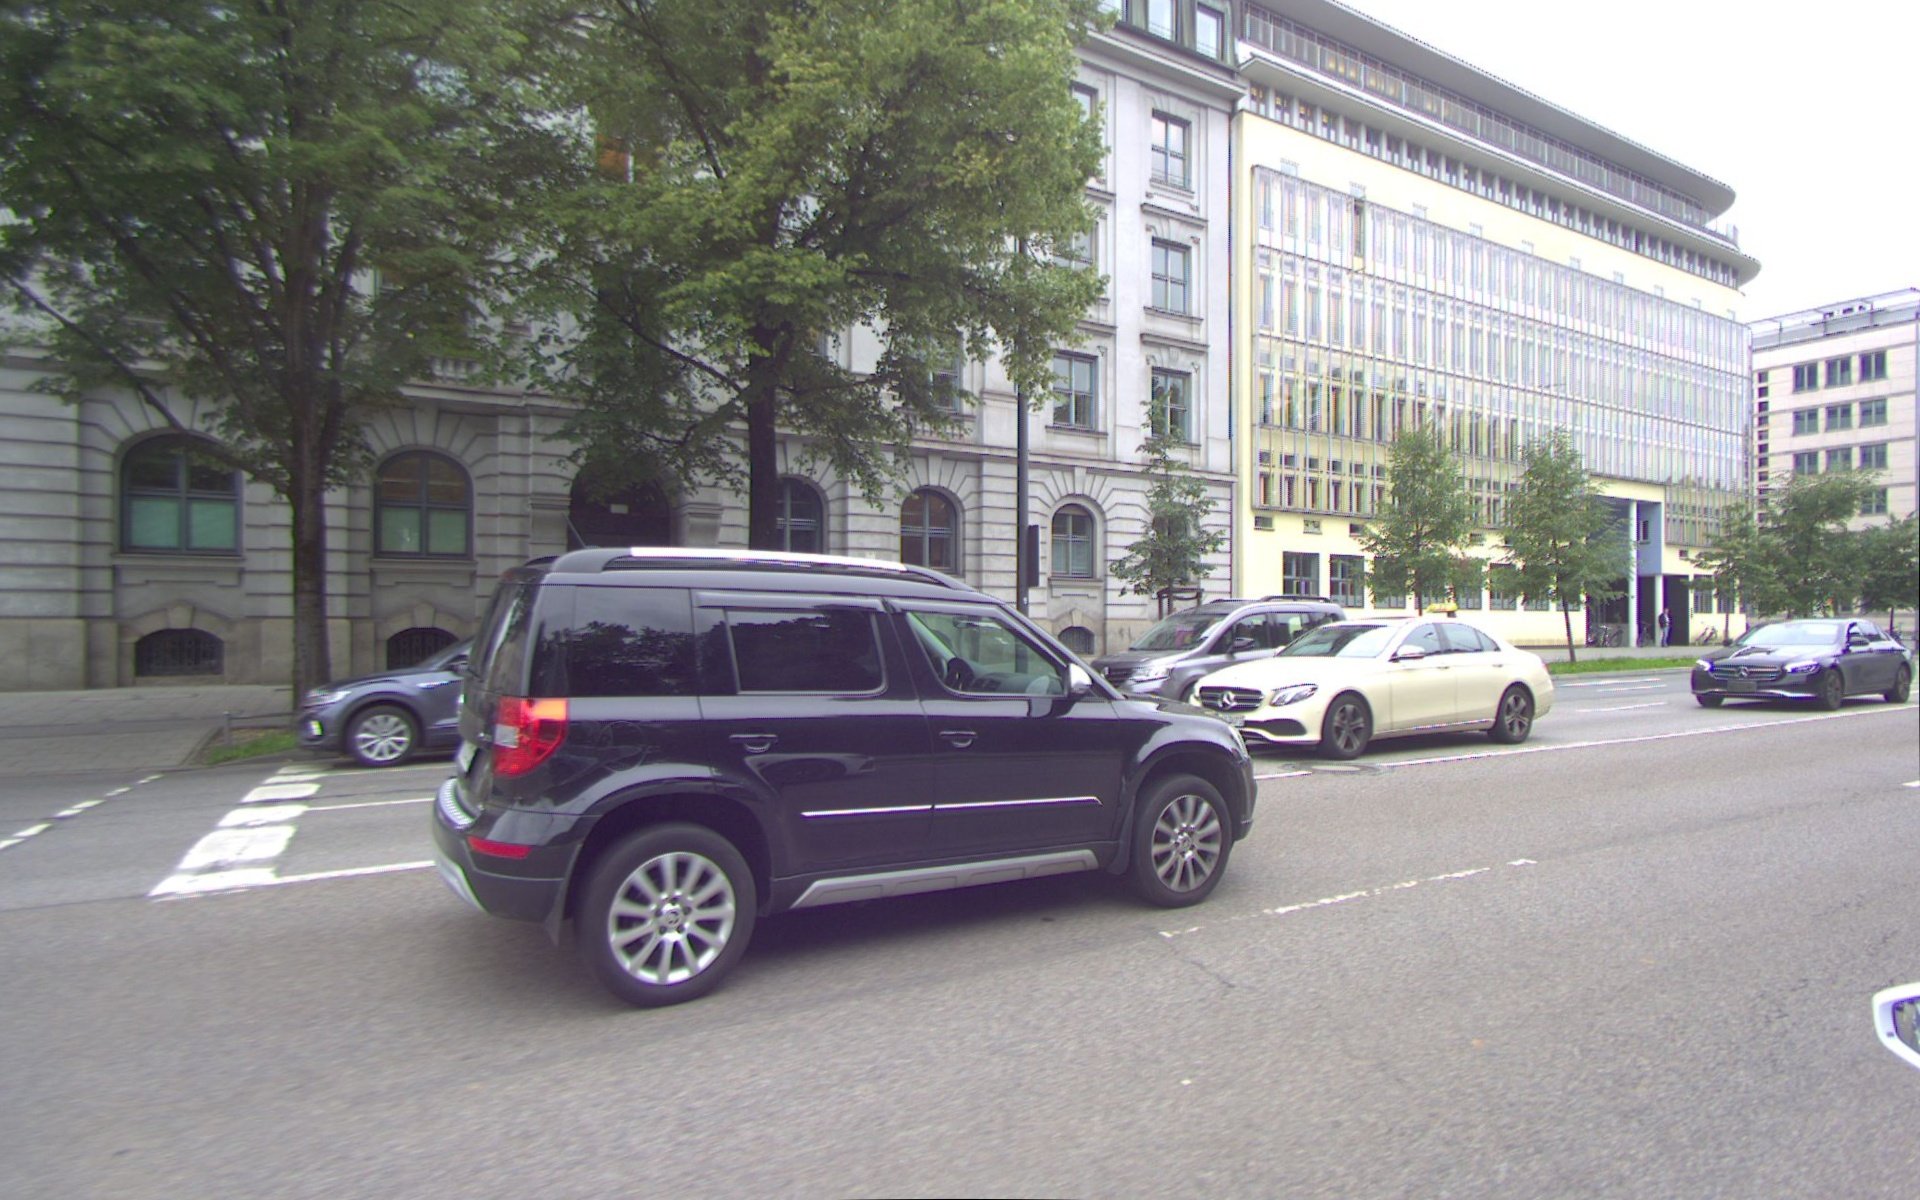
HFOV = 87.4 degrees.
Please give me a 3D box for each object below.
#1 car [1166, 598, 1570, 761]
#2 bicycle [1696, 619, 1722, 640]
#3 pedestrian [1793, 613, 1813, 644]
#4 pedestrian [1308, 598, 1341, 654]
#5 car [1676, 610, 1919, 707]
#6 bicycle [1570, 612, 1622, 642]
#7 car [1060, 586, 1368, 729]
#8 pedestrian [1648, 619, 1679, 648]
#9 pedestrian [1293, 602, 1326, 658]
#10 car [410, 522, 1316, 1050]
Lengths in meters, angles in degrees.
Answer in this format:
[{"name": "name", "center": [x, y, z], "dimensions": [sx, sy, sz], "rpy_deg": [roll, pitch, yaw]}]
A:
[{"name": "car", "center": [4.791, 0.795, 11.599], "dimensions": [4.766, 1.562, 1.819], "rpy_deg": [1, -1, -30]}, {"name": "bicycle", "center": [37.784, 1.464, 50.643], "dimensions": [1.577, 1.026, 0.569], "rpy_deg": [0, 1, -34]}, {"name": "pedestrian", "center": [49.352, 1.680, 58.786], "dimensions": [0.665, 1.799, 0.680], "rpy_deg": [0, 1, -26]}, {"name": "pedestrian", "center": [11.931, 0.830, 32.842], "dimensions": [0.826, 1.801, 0.612], "rpy_deg": [0, 1, -30]}, {"name": "car", "center": [14.434, 0.932, 17.172], "dimensions": [4.690, 1.442, 1.759], "rpy_deg": [0, -2, -30]}, {"name": "bicycle", "center": [30.281, 1.275, 47.842], "dimensions": [0.569, 1.336, 1.995], "rpy_deg": [0, 1, -35]}, {"name": "car", "center": [3.668, 0.746, 14.336], "dimensions": [4.209, 1.773, 1.819], "rpy_deg": [1, -1, -30]}, {"name": "pedestrian", "center": [34.526, 1.631, 49.300], "dimensions": [1.073, 1.382, 0.833], "rpy_deg": [0, -1, -30]}, {"name": "pedestrian", "center": [11.619, 0.985, 33.396], "dimensions": [0.826, 1.801, 0.612], "rpy_deg": [0, 1, -30]}, {"name": "car", "center": [-0.331, 0.613, 4.972], "dimensions": [4.156, 1.658, 1.714], "rpy_deg": [1, -1, -31]}]
